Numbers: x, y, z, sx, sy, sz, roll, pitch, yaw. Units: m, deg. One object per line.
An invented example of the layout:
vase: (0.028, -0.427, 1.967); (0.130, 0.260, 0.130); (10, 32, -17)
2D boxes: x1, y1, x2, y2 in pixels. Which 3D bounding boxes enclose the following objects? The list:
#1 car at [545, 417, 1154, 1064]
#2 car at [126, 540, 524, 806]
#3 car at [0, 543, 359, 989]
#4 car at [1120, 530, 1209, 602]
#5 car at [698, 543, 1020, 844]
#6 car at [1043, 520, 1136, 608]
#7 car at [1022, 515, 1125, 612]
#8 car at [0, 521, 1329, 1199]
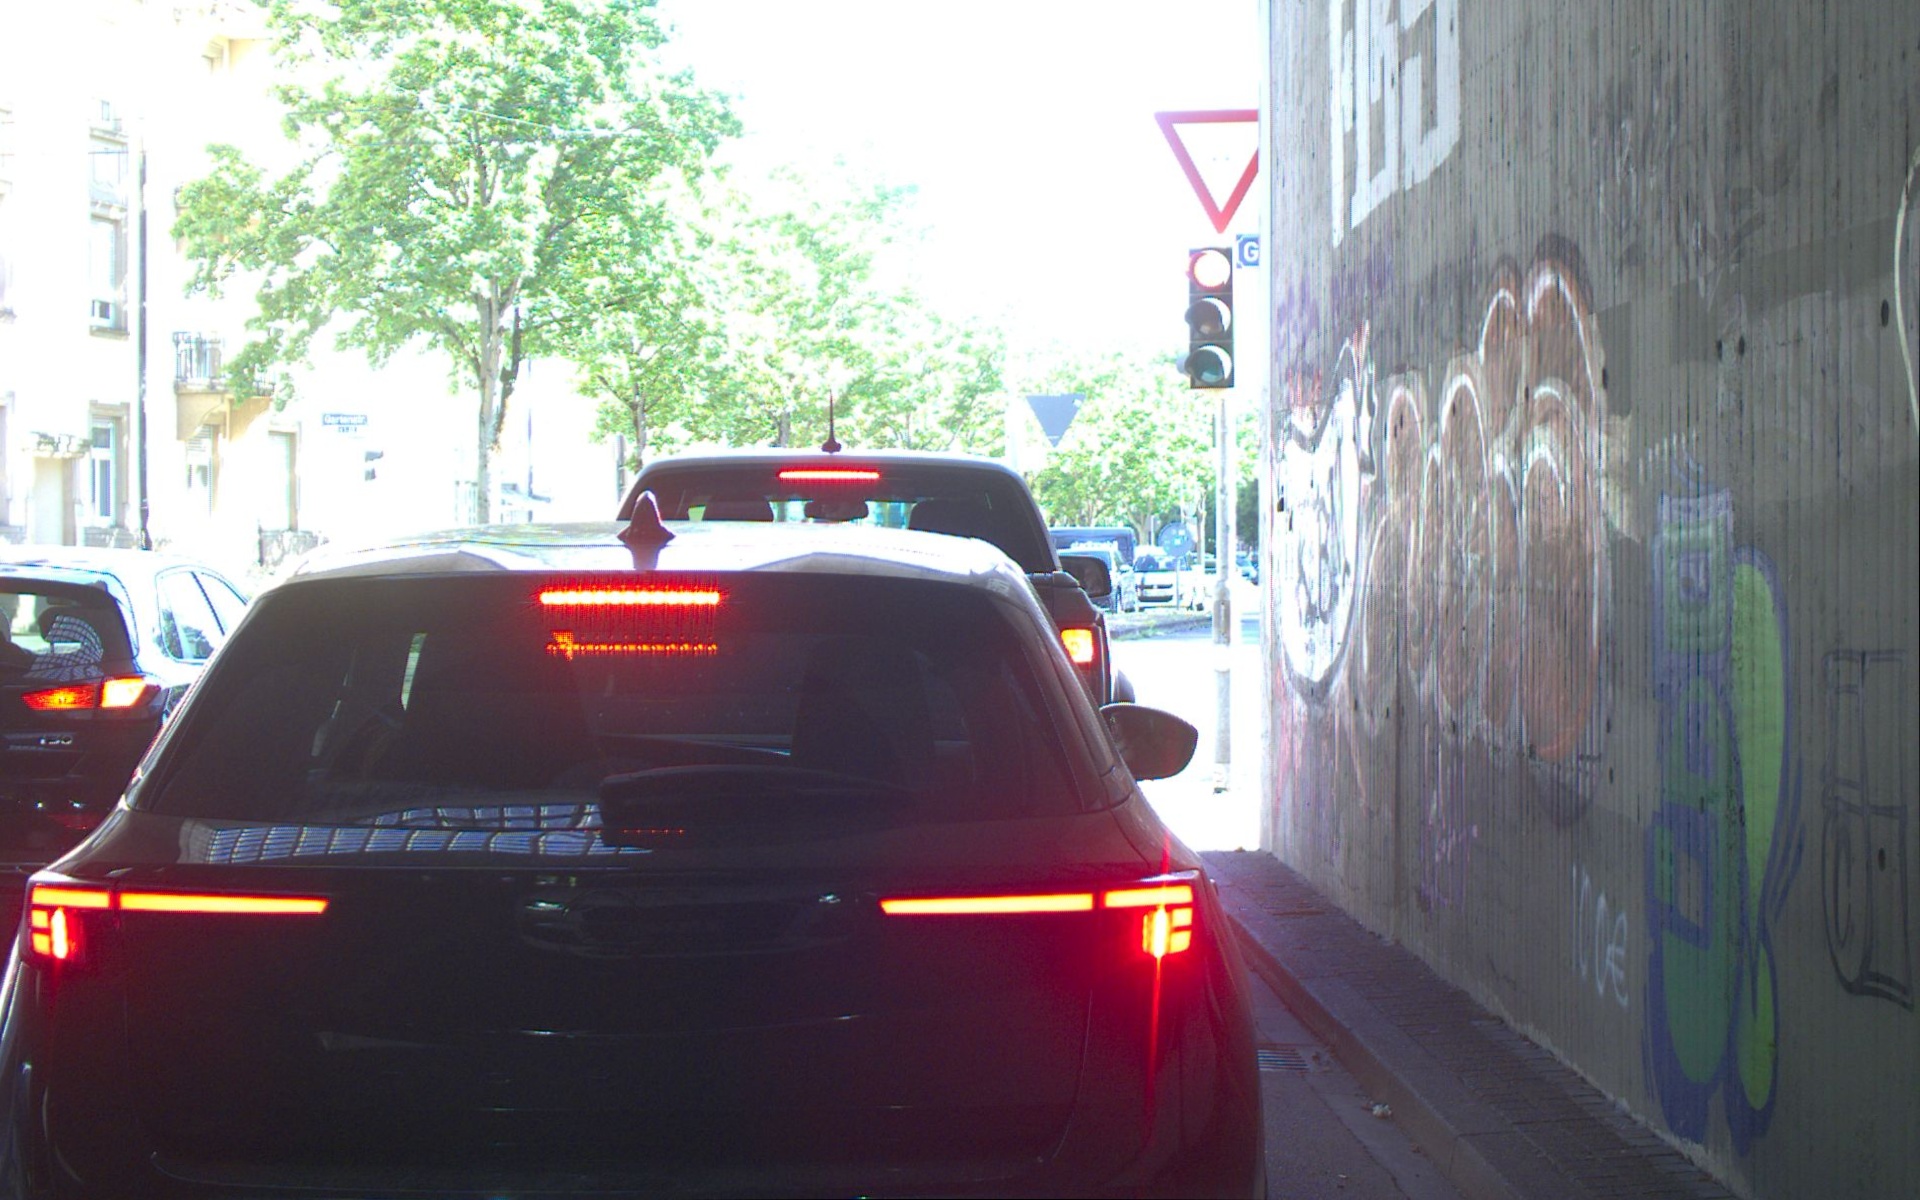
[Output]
car: (-0.343, 0.375, 12.041); (1.762, 1.876, 4.146); (0, 1, -1)
car: (-3.771, 0.372, 21.012); (1.762, 1.475, 3.844); (0, 1, -1)
car: (-3.520, 0.518, 13.288); (1.762, 1.475, 3.844); (0, 1, -1)
car: (4.936, -0.823, 82.580); (1.754, 1.661, 3.943); (1, 1, 9)
car: (-0.529, 0.436, 19.261); (1.609, 1.508, 4.054); (0, 1, -1)
car: (2.601, -0.711, 68.315); (1.754, 1.661, 3.944); (1, 1, 3)
car: (2.081, -0.657, 62.196); (1.754, 1.661, 3.944); (1, 1, 3)
car: (-0.471, 0.637, 6.100); (1.762, 1.526, 4.089); (0, 1, -1)
